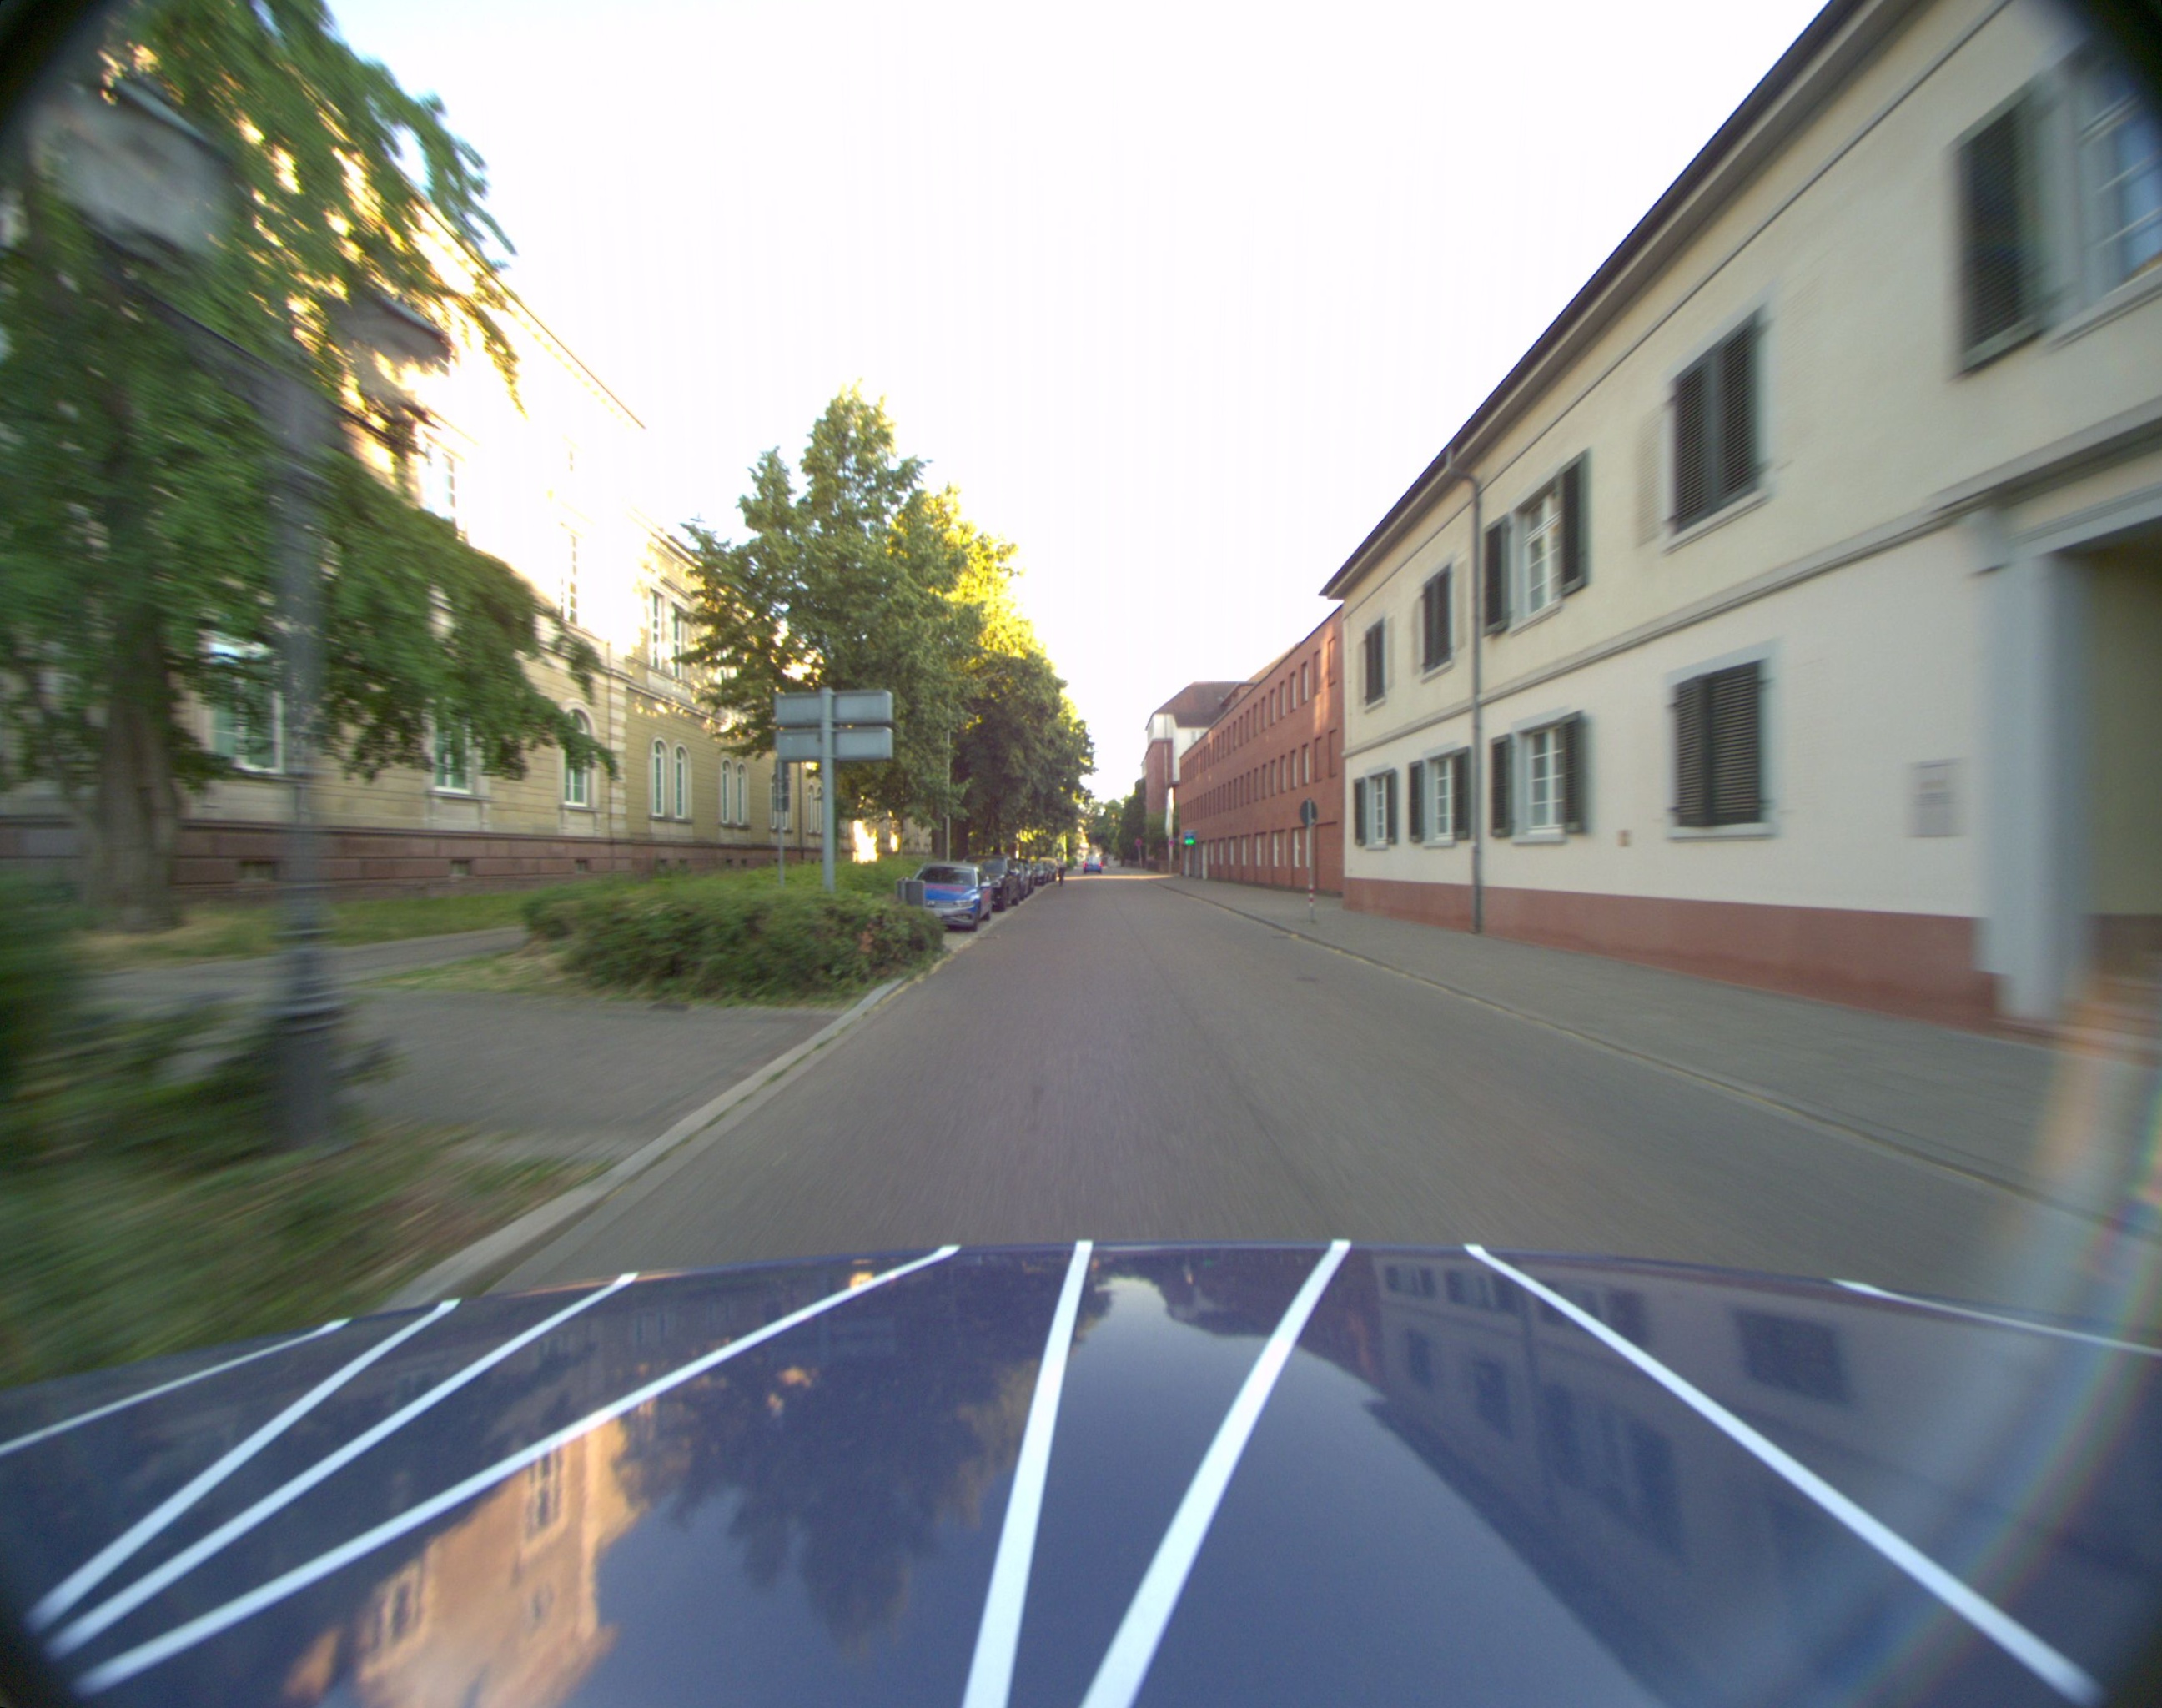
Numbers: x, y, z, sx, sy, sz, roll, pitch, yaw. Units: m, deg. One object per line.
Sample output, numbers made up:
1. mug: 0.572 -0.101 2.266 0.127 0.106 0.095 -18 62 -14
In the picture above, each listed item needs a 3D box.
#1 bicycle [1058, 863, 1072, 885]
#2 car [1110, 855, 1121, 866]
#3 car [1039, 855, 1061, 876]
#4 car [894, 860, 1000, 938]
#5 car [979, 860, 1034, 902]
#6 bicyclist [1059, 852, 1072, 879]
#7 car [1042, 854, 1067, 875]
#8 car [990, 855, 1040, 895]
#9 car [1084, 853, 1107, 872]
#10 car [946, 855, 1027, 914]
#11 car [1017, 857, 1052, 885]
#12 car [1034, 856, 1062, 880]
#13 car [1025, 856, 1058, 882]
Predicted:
1. bicycle: -0.960 1.163 44.824 0.753 1.245 2.209 0 0 -2
2. car: 6.660 1.285 145.976 1.886 2.039 4.324 0 1 1
3. car: -2.575 0.922 63.907 1.728 1.673 4.499 0 1 0
4. car: -3.052 0.966 18.253 1.728 1.479 4.610 3 0 -1
5. car: -2.884 1.006 30.194 1.728 1.529 4.189 0 0 0
6. bicyclist: -0.936 0.675 44.842 0.753 1.603 1.038 0 0 -2
7. car: -2.374 0.890 69.604 1.809 1.803 4.948 0 1 3
8. car: -2.971 0.930 35.093 1.811 1.641 4.419 4 0 0
9. car: 1.484 0.908 80.121 1.999 1.863 5.108 -1 -2 -4
10. car: -2.888 0.884 24.257 1.728 1.642 4.714 0 1 3
11. car: -2.805 0.993 46.416 1.739 1.498 4.521 4 1 0
12. car: -2.418 1.004 56.841 1.728 1.525 4.622 4 1 0
13. car: -2.687 1.003 52.055 1.728 1.525 4.190 4 1 3
